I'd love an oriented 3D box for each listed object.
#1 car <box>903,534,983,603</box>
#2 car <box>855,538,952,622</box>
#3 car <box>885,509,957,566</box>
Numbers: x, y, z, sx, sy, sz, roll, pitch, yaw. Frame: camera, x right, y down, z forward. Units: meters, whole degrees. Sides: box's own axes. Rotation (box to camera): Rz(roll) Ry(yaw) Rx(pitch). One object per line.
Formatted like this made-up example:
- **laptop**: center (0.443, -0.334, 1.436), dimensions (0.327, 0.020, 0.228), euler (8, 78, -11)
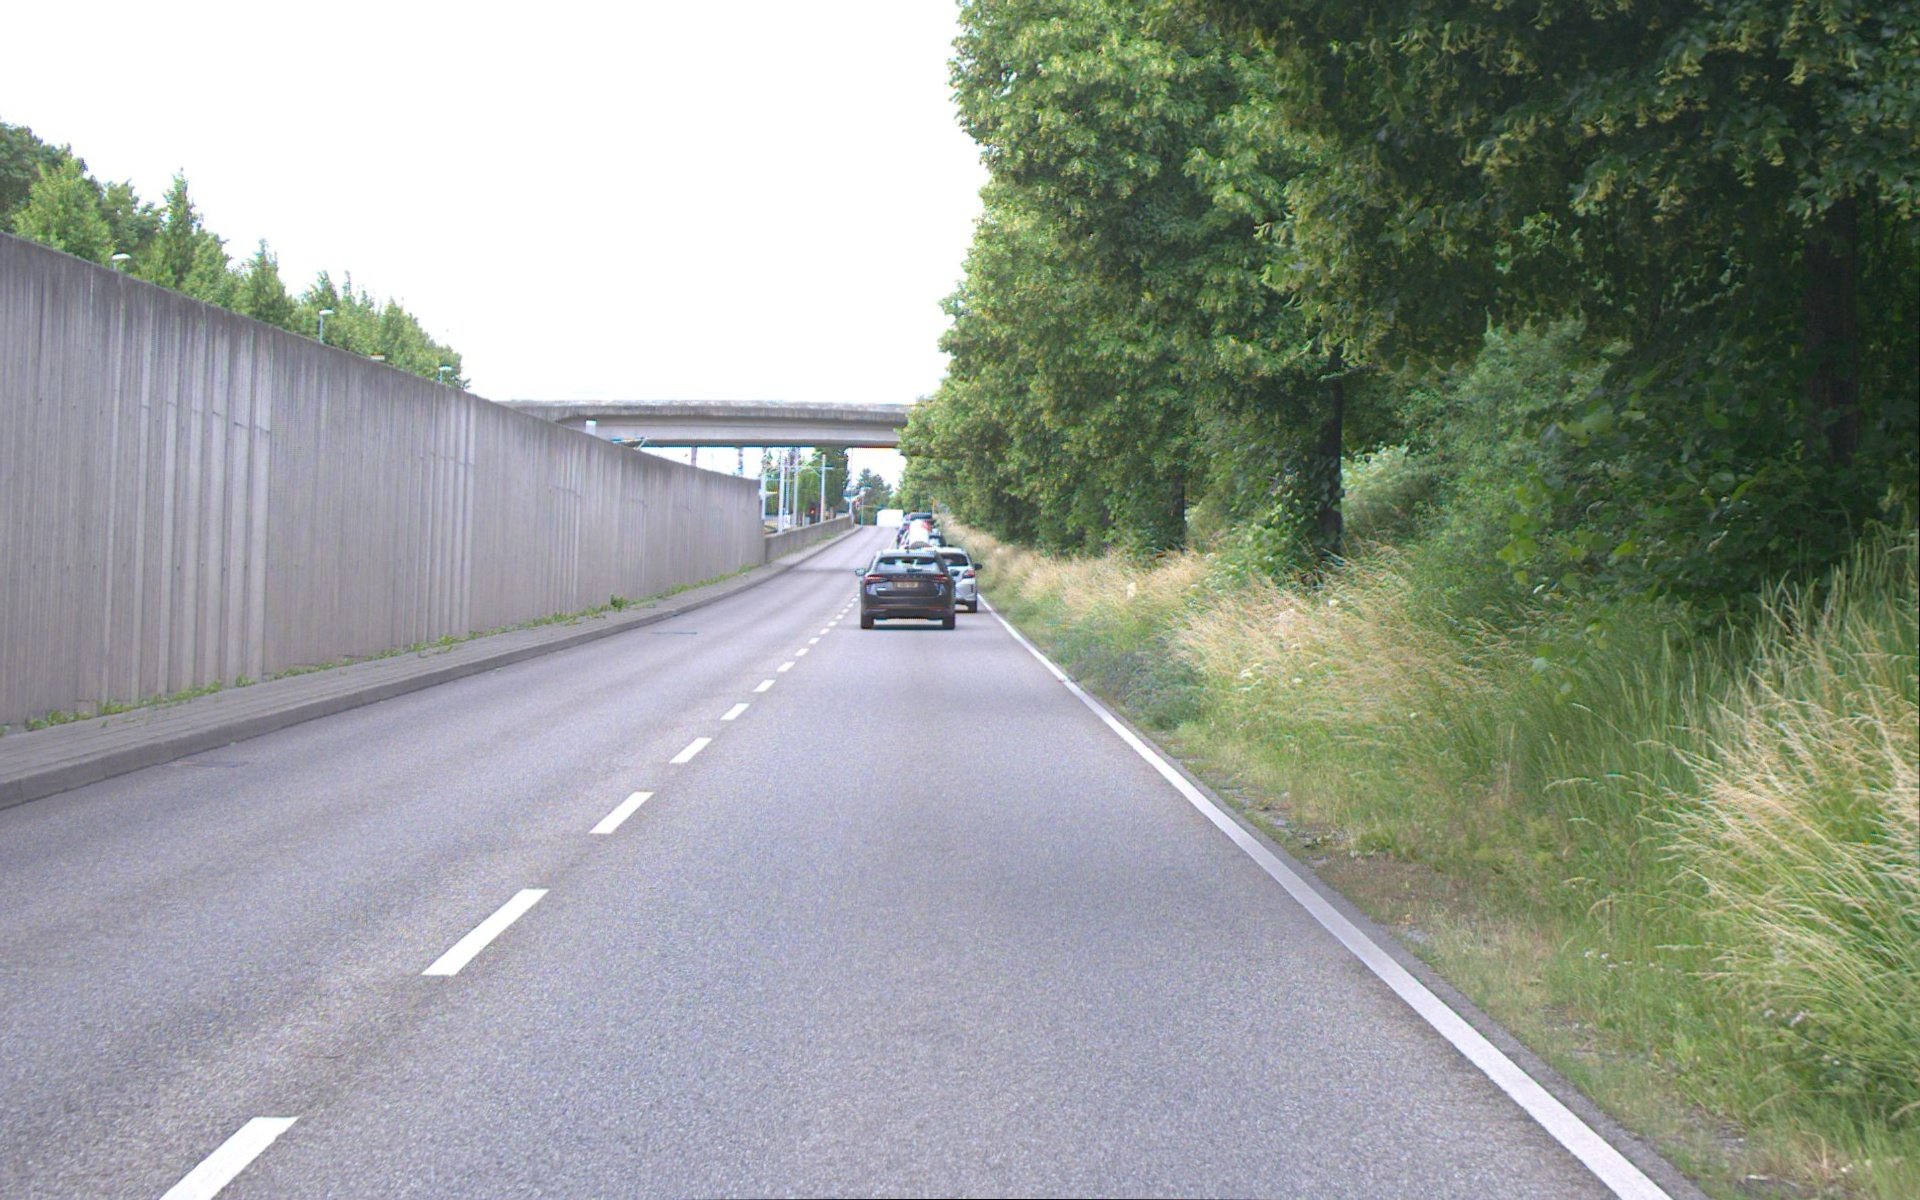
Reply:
- **car**: center (-0.414, -0.722, 79.377), dimensions (1.754, 1.518, 4.037), euler (-1, 0, -1)
- **car**: center (-1.057, -0.371, 64.282), dimensions (1.754, 1.518, 4.037), euler (0, 0, -1)
- **car**: center (-1.141, -1.788, 99.174), dimensions (1.866, 1.485, 4.257), euler (4, 1, -2)
